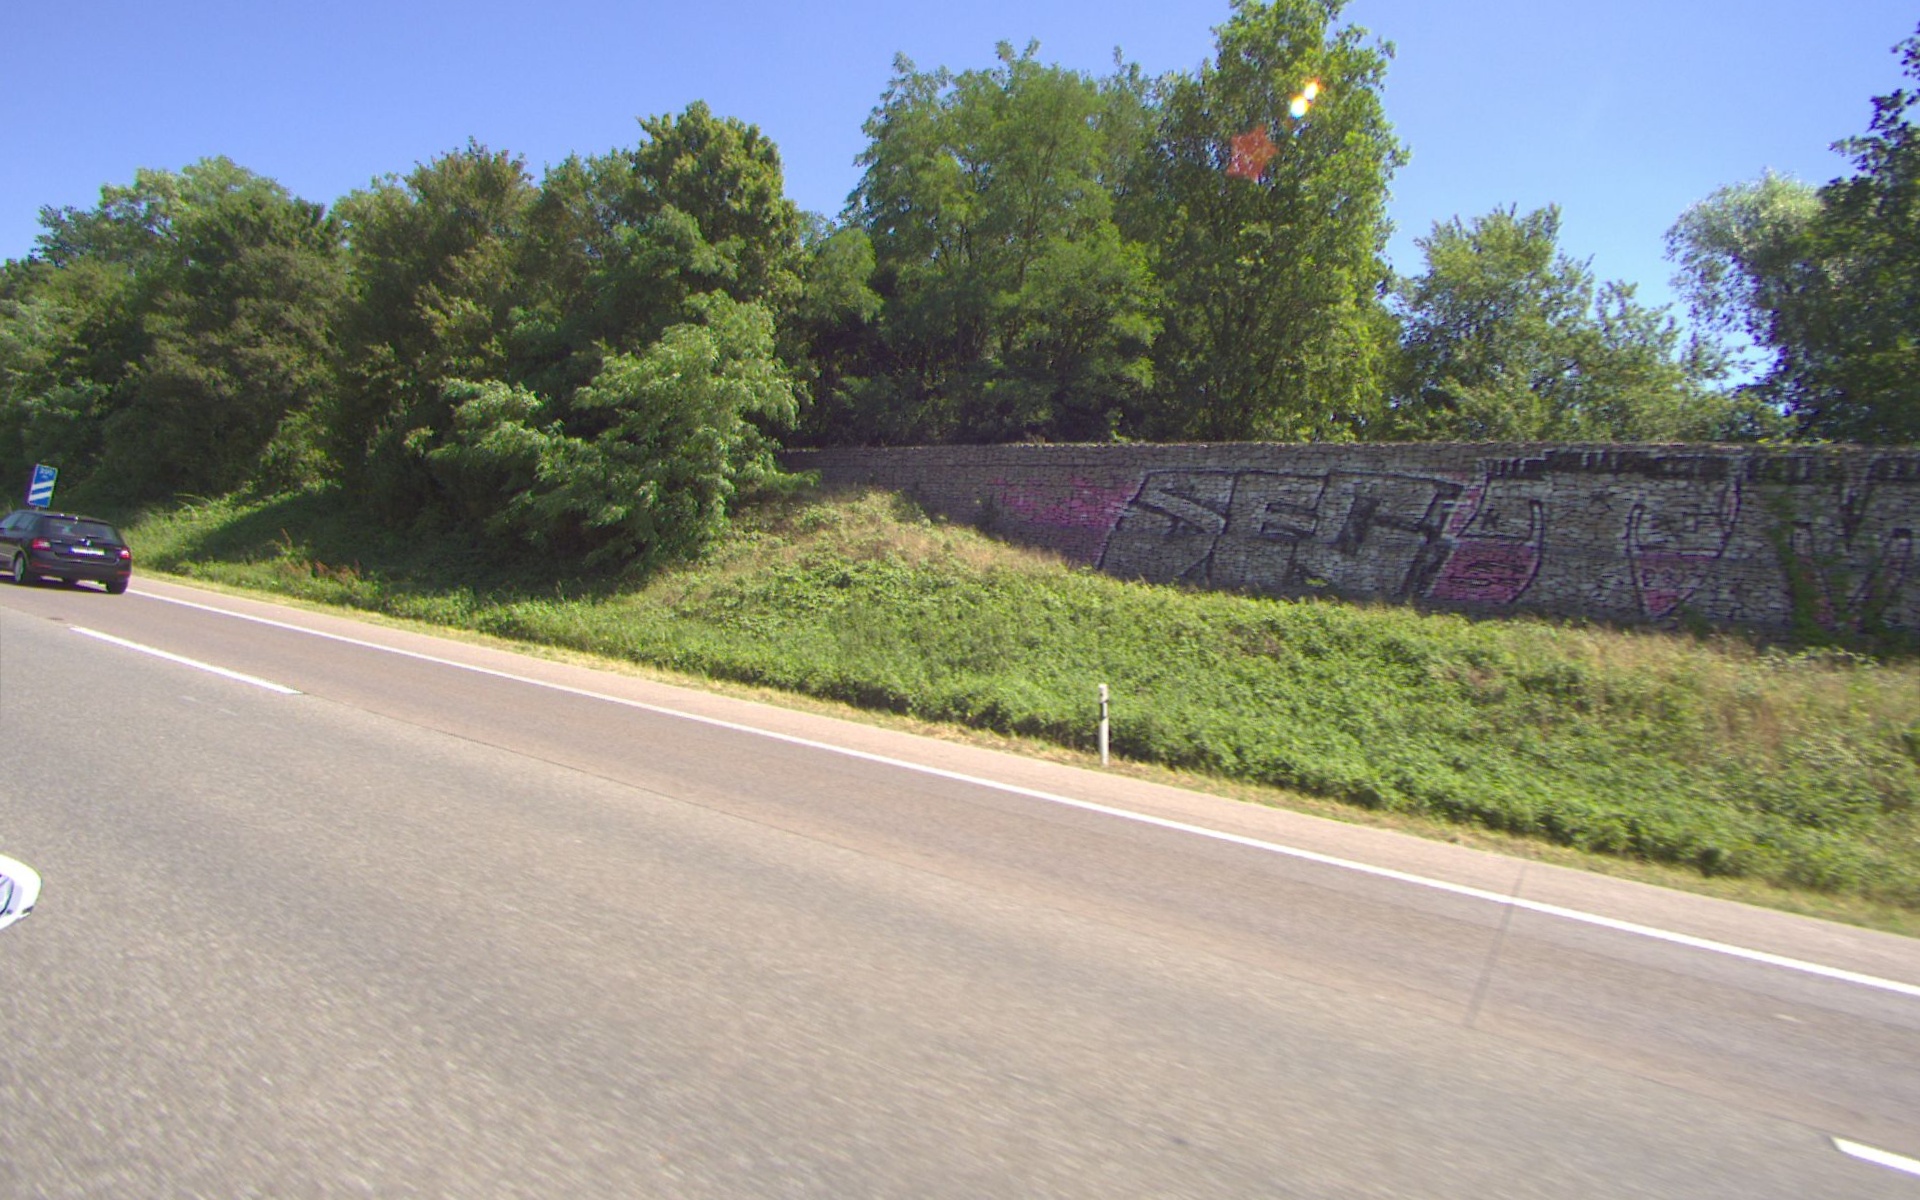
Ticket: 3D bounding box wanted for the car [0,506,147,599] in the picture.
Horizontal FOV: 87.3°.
[{"bbox_3d":[-18.545,-1.034,20.417,4.498,1.464,1.673,6,-2,32],"label":"car"}]
